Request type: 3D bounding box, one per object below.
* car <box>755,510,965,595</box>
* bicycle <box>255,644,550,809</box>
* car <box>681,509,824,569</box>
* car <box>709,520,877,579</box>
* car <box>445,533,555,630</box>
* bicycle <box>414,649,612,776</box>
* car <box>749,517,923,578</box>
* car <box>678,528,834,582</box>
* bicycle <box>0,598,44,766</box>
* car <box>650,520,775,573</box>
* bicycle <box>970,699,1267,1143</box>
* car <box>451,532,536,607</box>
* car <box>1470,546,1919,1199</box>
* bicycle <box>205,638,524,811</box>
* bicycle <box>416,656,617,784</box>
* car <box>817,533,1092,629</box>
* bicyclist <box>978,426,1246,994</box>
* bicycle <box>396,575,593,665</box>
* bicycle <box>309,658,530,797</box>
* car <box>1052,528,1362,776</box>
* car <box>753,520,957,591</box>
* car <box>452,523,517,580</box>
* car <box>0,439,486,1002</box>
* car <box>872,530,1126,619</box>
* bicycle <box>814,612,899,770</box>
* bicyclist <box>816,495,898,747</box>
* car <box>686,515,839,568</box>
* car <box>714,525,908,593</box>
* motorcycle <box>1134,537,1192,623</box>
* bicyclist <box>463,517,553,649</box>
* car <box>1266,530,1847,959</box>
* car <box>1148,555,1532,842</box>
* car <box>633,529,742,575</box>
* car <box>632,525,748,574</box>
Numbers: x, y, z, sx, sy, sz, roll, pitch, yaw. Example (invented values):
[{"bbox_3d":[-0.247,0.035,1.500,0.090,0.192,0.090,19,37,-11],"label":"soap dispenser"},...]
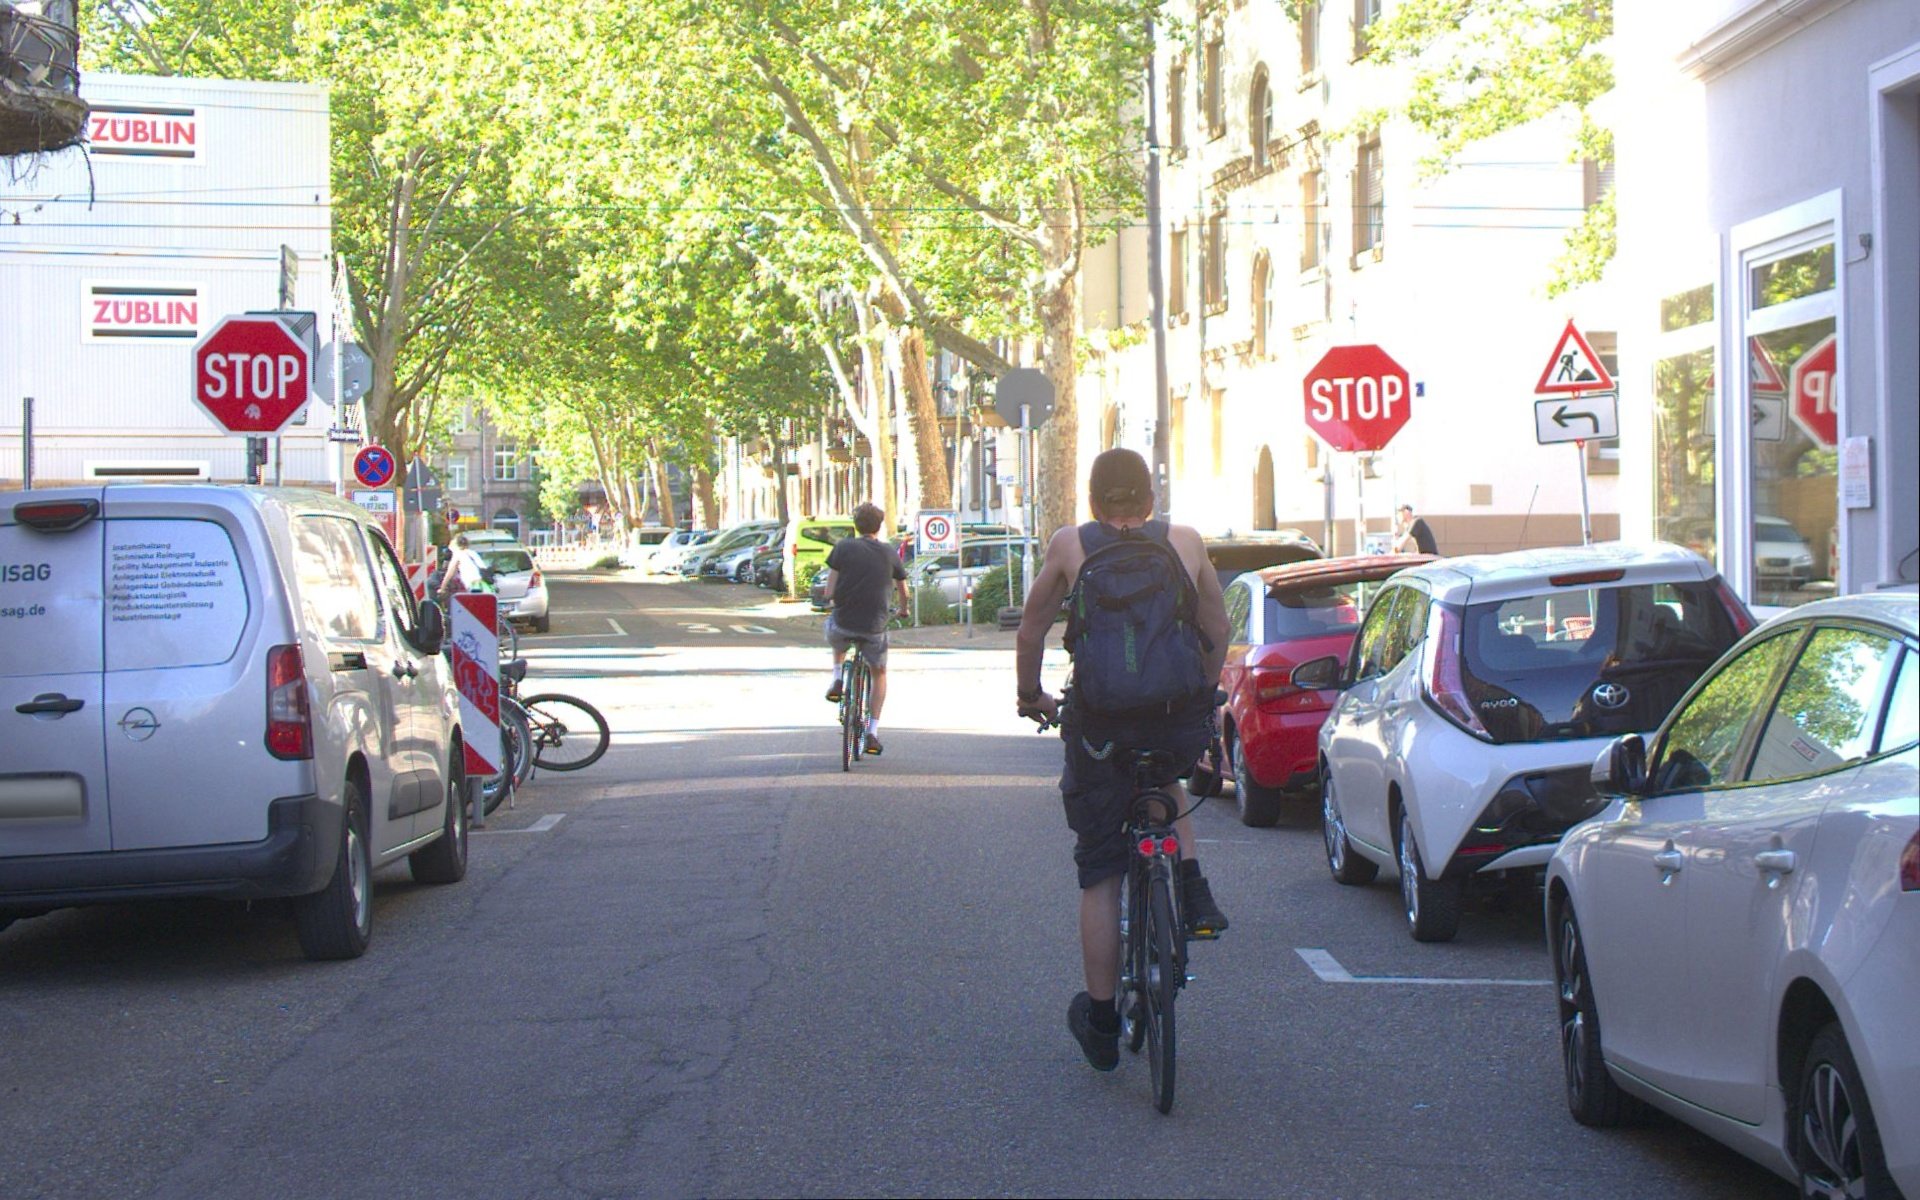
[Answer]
[{"bbox_3d":[-2.228,-1.073,76.434,4.460,1.830,1.729,-1,1,-9],"label":"car"},{"bbox_3d":[-3.455,0.774,21.307,1.764,0.958,0.481,-1,1,-13],"label":"bicycle"},{"bbox_3d":[-6.753,-1.983,111.588,4.460,1.891,1.729,-1,1,-9],"label":"car"},{"bbox_3d":[-4.620,-1.408,94.717,4.460,1.565,1.729,-1,1,-9],"label":"car"},{"bbox_3d":[-7.801,-0.343,58.071,1.643,1.489,4.001,-3,2,-10],"label":"car"},{"bbox_3d":[-3.051,0.761,23.438,1.308,0.815,0.371,-1,1,-11],"label":"bicycle"},{"bbox_3d":[-3.334,-1.404,91.780,4.460,1.565,1.729,-1,1,-9],"label":"car"},{"bbox_3d":[-6.057,-1.343,101.962,4.460,1.565,1.729,-1,1,-9],"label":"car"},{"bbox_3d":[-6.503,0.541,22.890,0.397,1.088,1.591,-1,0,-1],"label":"bicycle"},{"bbox_3d":[-9.155,-1.983,126.986,4.460,1.891,1.729,-1,1,-9],"label":"car"},{"bbox_3d":[0.399,0.831,9.551,0.689,1.013,1.907,1,1,-1],"label":"bicycle"},{"bbox_3d":[-10.110,-0.684,74.339,1.665,1.557,4.001,-1,1,-10],"label":"car"},{"bbox_3d":[2.367,0.651,7.646,1.679,1.505,4.190,1,1,-2],"label":"car"},{"bbox_3d":[-3.429,0.713,19.869,1.764,0.958,0.405,-1,1,-2],"label":"bicycle"},{"bbox_3d":[-2.978,0.802,23.067,1.308,0.815,0.355,-1,1,-11],"label":"bicycle"},{"bbox_3d":[-0.118,-0.344,58.589,4.460,1.565,1.729,-1,1,-9],"label":"car"},{"bbox_3d":[0.408,0.290,9.532,0.676,1.508,0.669,1,1,-1],"label":"bicyclist"},{"bbox_3d":[-5.841,0.244,43.162,2.422,1.089,0.896,-1,0,-7],"label":"bicycle"},{"bbox_3d":[-3.550,0.833,22.587,1.386,0.815,0.362,-3,2,-11],"label":"bicycle"},{"bbox_3d":[1.732,0.315,25.394,1.760,1.656,4.198,1,1,-3],"label":"car"},{"bbox_3d":[-2.415,-1.020,78.445,4.460,1.565,1.729,-1,1,-9],"label":"car"},{"bbox_3d":[-13.371,-1.381,96.557,1.665,1.557,4.617,-1,1,-10],"label":"car"},{"bbox_3d":[-3.142,0.399,14.293,1.679,1.903,4.519,-4,1,-1],"label":"car"},{"bbox_3d":[0.711,-0.488,63.568,4.460,1.565,1.729,-1,1,-9],"label":"car"},{"bbox_3d":[-0.706,0.598,23.323,0.551,1.013,1.628,0,0,-2],"label":"bicycle"},{"bbox_3d":[-0.700,0.140,23.281,0.542,1.682,0.653,0,0,-2],"label":"bicyclist"},{"bbox_3d":[-6.004,-1.776,104.303,4.460,1.565,1.729,-1,1,-9],"label":"car"},{"bbox_3d":[-3.582,-0.986,82.267,4.460,1.565,1.729,-1,1,-9],"label":"car"},{"bbox_3d":[3.234,-0.334,54.842,0.513,1.328,1.764,-1,1,-10],"label":"motorcycle"},{"bbox_3d":[-5.682,-0.212,43.189,1.096,1.634,0.896,-1,0,-7],"label":"bicyclist"},{"bbox_3d":[2.398,0.507,14.733,1.636,1.581,3.789,1,1,-3],"label":"car"},{"bbox_3d":[2.158,0.506,20.492,1.645,1.498,3.955,1,1,-3],"label":"car"},{"bbox_3d":[-11.601,-2.063,146.234,4.460,1.891,1.729,-1,1,-9],"label":"car"},{"bbox_3d":[-10.802,-2.026,137.352,4.460,1.891,1.729,-1,1,-9],"label":"car"}]
